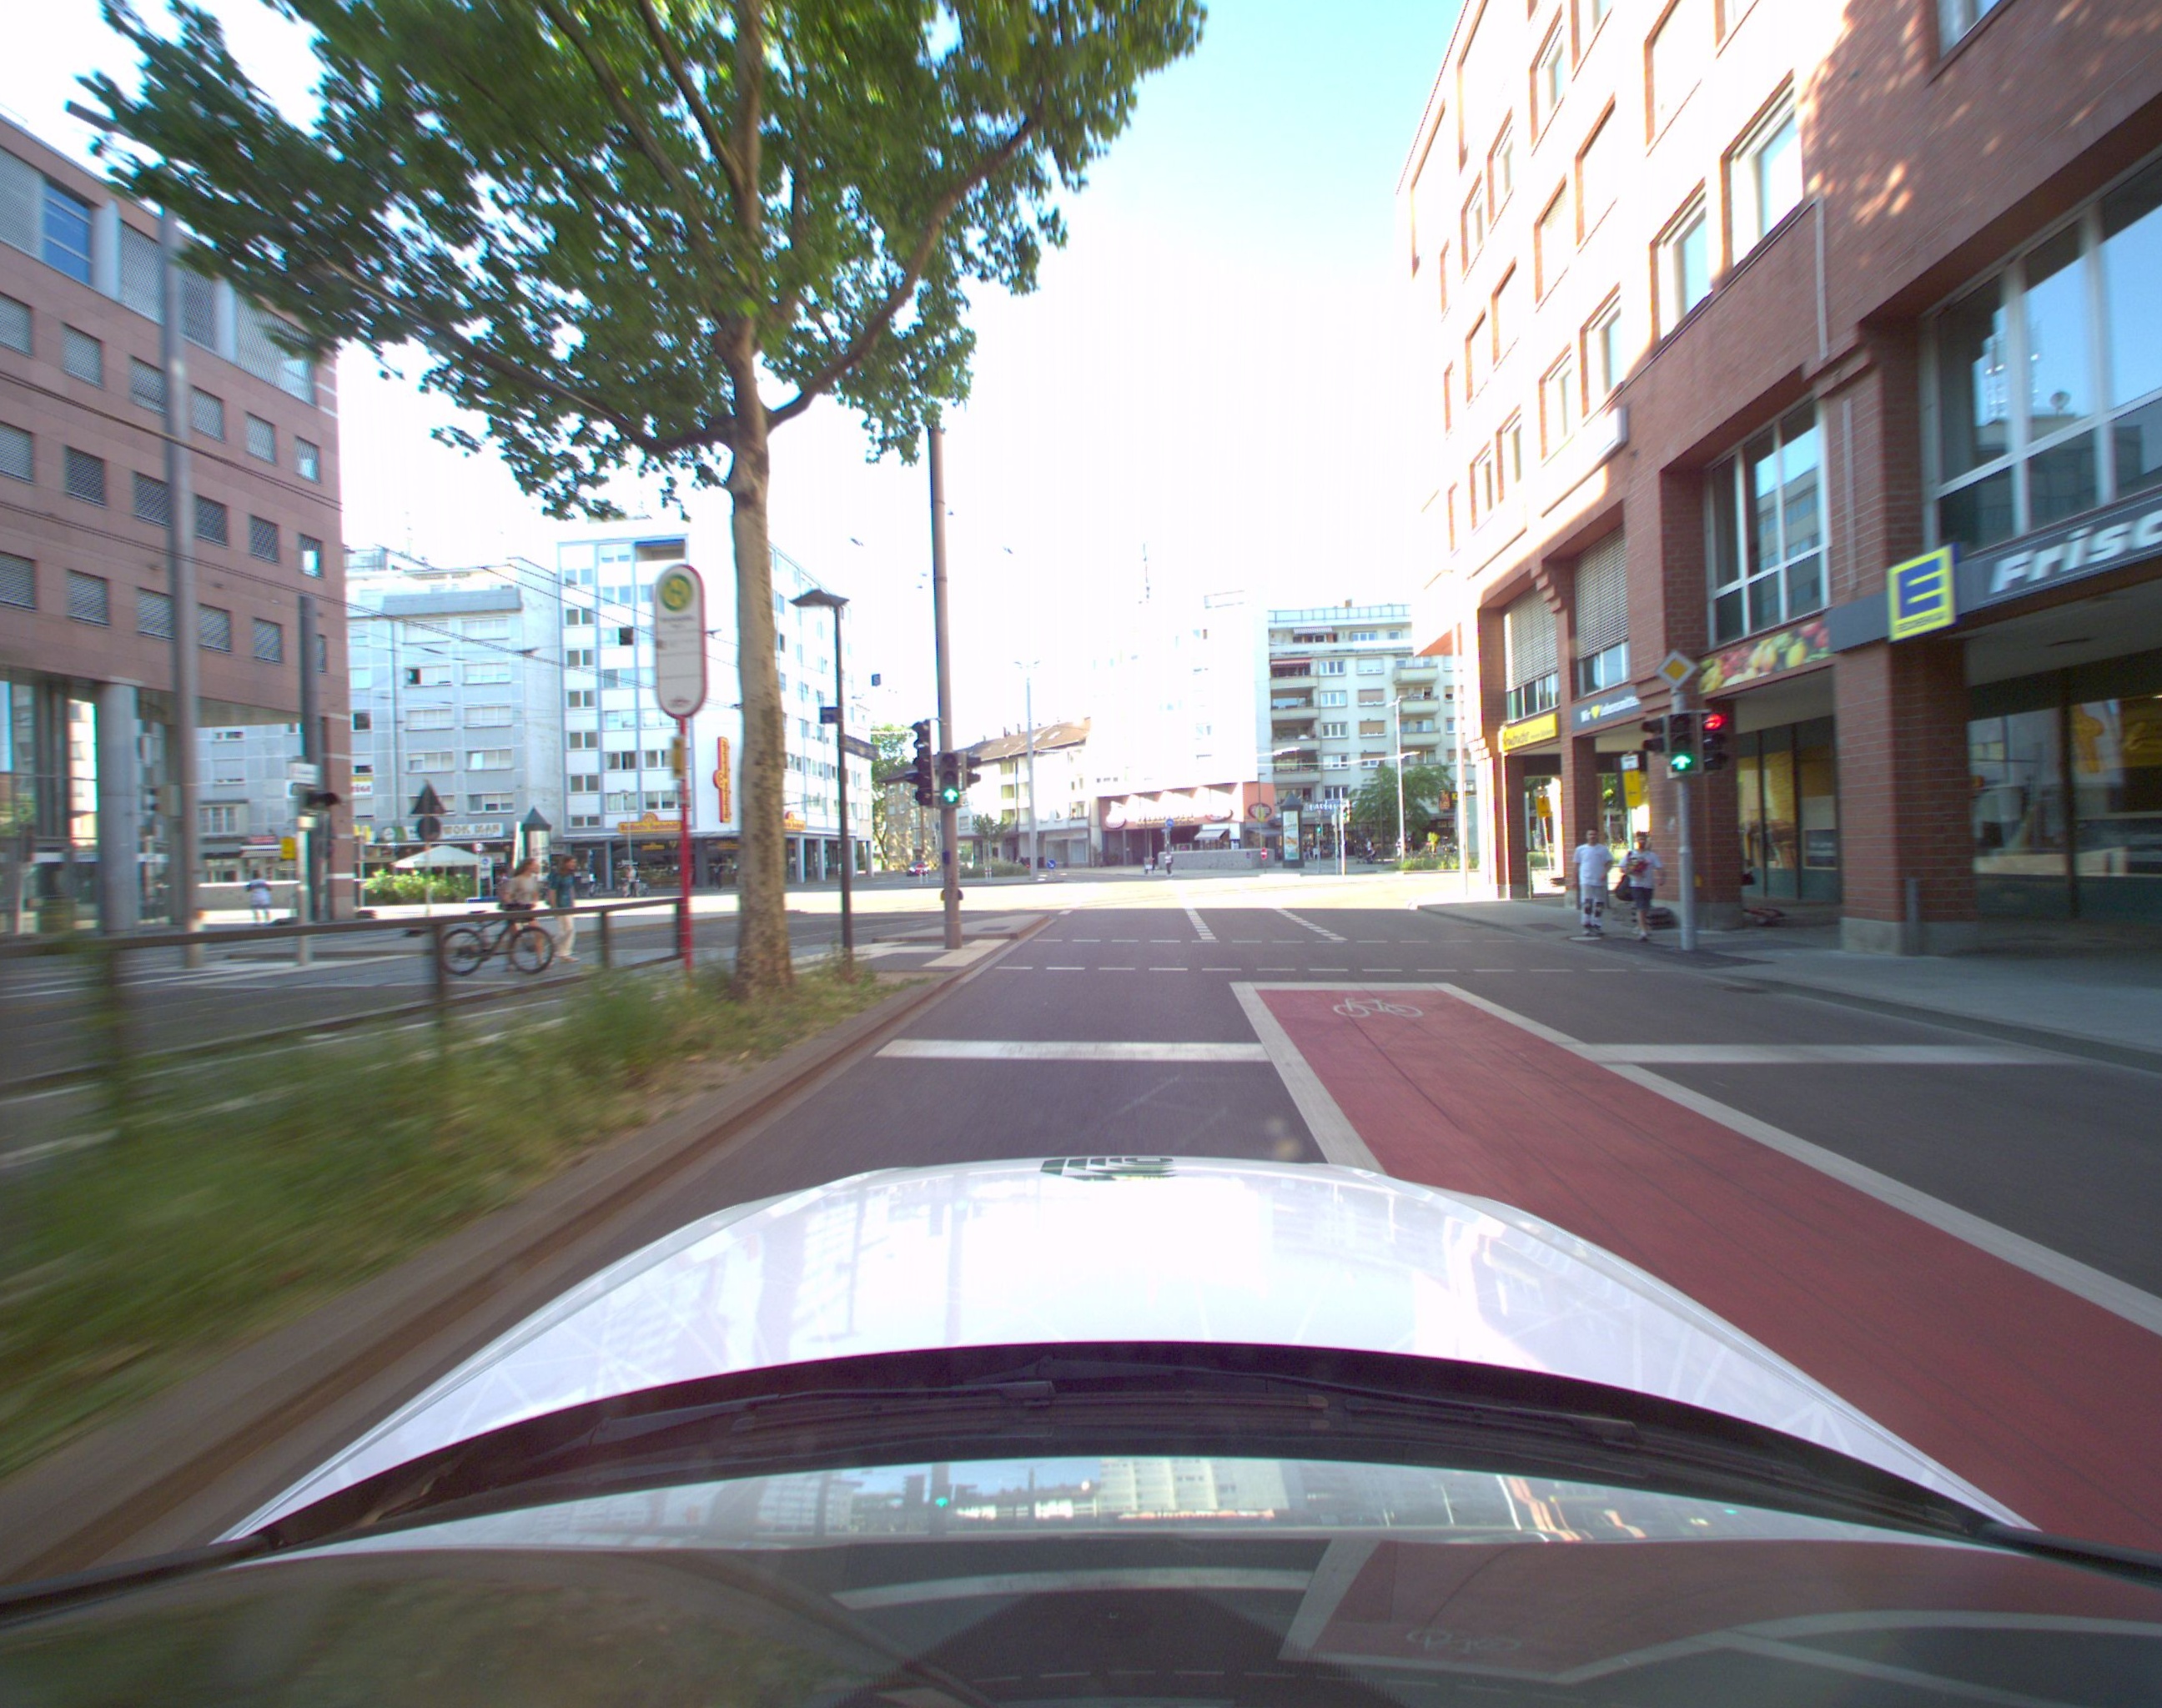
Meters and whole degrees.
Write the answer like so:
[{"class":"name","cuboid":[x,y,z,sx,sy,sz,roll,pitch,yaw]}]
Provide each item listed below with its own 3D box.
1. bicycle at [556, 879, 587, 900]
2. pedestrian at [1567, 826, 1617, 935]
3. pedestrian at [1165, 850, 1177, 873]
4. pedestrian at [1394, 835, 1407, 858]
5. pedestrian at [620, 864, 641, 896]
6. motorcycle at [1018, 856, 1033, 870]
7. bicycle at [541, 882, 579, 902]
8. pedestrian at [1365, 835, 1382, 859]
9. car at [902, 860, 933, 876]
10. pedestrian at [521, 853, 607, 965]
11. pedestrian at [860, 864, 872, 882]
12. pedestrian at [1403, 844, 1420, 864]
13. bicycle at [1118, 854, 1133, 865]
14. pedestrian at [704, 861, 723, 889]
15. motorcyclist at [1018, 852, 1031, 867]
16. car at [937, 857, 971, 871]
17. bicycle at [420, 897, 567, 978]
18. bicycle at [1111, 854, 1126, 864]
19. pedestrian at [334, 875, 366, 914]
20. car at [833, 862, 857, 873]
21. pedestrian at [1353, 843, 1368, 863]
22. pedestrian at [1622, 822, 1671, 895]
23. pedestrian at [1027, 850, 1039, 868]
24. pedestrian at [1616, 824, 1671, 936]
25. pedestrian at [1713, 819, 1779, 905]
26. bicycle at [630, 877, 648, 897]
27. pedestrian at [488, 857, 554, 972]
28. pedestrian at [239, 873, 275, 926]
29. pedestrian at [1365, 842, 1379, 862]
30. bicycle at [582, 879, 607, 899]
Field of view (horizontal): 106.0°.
[{"class":"bicycle","cuboid":[-29.137,2.009,46.594,0.593,1.053,2.004,-2,0,-4]},{"class":"pedestrian","cuboid":[8.620,0.436,13.747,0.473,1.792,0.542,-2,0,5]},{"class":"pedestrian","cuboid":[6.148,0.512,55.804,0.543,1.583,0.551,-1,0,-38]},{"class":"pedestrian","cuboid":[25.113,-0.569,64.078,0.680,1.746,0.716,-2,0,-6]},{"class":"pedestrian","cuboid":[-25.176,1.445,45.531,0.625,1.791,0.786,-2,0,6]},{"class":"motorcycle","cuboid":[-4.956,0.788,72.358,0.974,1.132,2.793,0,0,-12]},{"class":"bicycle","cuboid":[-30.132,2.187,47.126,0.591,1.053,2.011,-2,0,9]},{"class":"pedestrian","cuboid":[22.513,-0.535,62.767,1.036,1.866,0.689,-2,0,7]},{"class":"car","cuboid":[-15.420,1.281,77.085,1.826,1.386,4.598,-2,-1,2]},{"class":"pedestrian","cuboid":[-8.346,0.866,13.177,0.774,1.734,0.849,-2,0,2]},{"class":"pedestrian","cuboid":[-21.066,1.847,79.831,0.812,1.724,0.767,-1,-1,-43]},{"class":"pedestrian","cuboid":[23.383,-0.025,57.600,0.717,1.365,1.107,-2,0,-3]},{"class":"bicycle","cuboid":[4.486,0.529,82.529,0.498,1.038,1.619,-2,0,-40]},{"class":"pedestrian","cuboid":[-23.063,1.335,51.088,0.801,1.724,0.777,-1,-1,5]},{"class":"motorcyclist","cuboid":[-5.019,0.488,72.605,0.971,1.347,1.133,0,0,-13]},{"class":"car","cuboid":[-13.973,1.081,89.257,1.939,1.388,3.953,-2,0,-40]},{"class":"bicycle","cuboid":[-8.509,1.198,11.813,1.820,1.078,0.481,-2,0,5]},{"class":"bicycle","cuboid":[3.759,0.514,82.092,0.498,1.038,1.619,-2,0,-40]},{"class":"pedestrian","cuboid":[-31.843,1.758,35.487,0.896,1.665,0.890,-2,0,40]},{"class":"car","cuboid":[-36.400,2.077,125.743,2.050,1.504,4.045,-2,0,-40]},{"class":"pedestrian","cuboid":[20.750,-0.098,60.515,0.711,1.446,0.935,-1,0,40]},{"class":"pedestrian","cuboid":[13.305,0.110,19.180,0.597,1.662,0.798,-2,0,5]},{"class":"pedestrian","cuboid":[-5.064,0.569,86.493,0.737,1.854,0.937,-5,1,-41]},{"class":"pedestrian","cuboid":[8.982,0.401,12.999,0.627,1.725,0.634,-2,0,40]},{"class":"pedestrian","cuboid":[12.750,0.139,15.610,0.849,1.589,0.746,-1,0,-35]},{"class":"bicycle","cuboid":[-25.732,1.894,47.465,0.597,1.053,1.992,-2,0,-20]},{"class":"pedestrian","cuboid":[-8.450,0.892,12.305,0.563,1.680,0.532,-2,0,6]},{"class":"pedestrian","cuboid":[-26.029,1.426,25.723,0.634,1.618,0.728,-2,0,40]},{"class":"pedestrian","cuboid":[21.326,-0.119,59.694,0.711,1.420,0.935,-1,0,37]},{"class":"bicycle","cuboid":[-28.099,2.017,47.046,0.595,1.053,1.997,-2,0,-13]}]
